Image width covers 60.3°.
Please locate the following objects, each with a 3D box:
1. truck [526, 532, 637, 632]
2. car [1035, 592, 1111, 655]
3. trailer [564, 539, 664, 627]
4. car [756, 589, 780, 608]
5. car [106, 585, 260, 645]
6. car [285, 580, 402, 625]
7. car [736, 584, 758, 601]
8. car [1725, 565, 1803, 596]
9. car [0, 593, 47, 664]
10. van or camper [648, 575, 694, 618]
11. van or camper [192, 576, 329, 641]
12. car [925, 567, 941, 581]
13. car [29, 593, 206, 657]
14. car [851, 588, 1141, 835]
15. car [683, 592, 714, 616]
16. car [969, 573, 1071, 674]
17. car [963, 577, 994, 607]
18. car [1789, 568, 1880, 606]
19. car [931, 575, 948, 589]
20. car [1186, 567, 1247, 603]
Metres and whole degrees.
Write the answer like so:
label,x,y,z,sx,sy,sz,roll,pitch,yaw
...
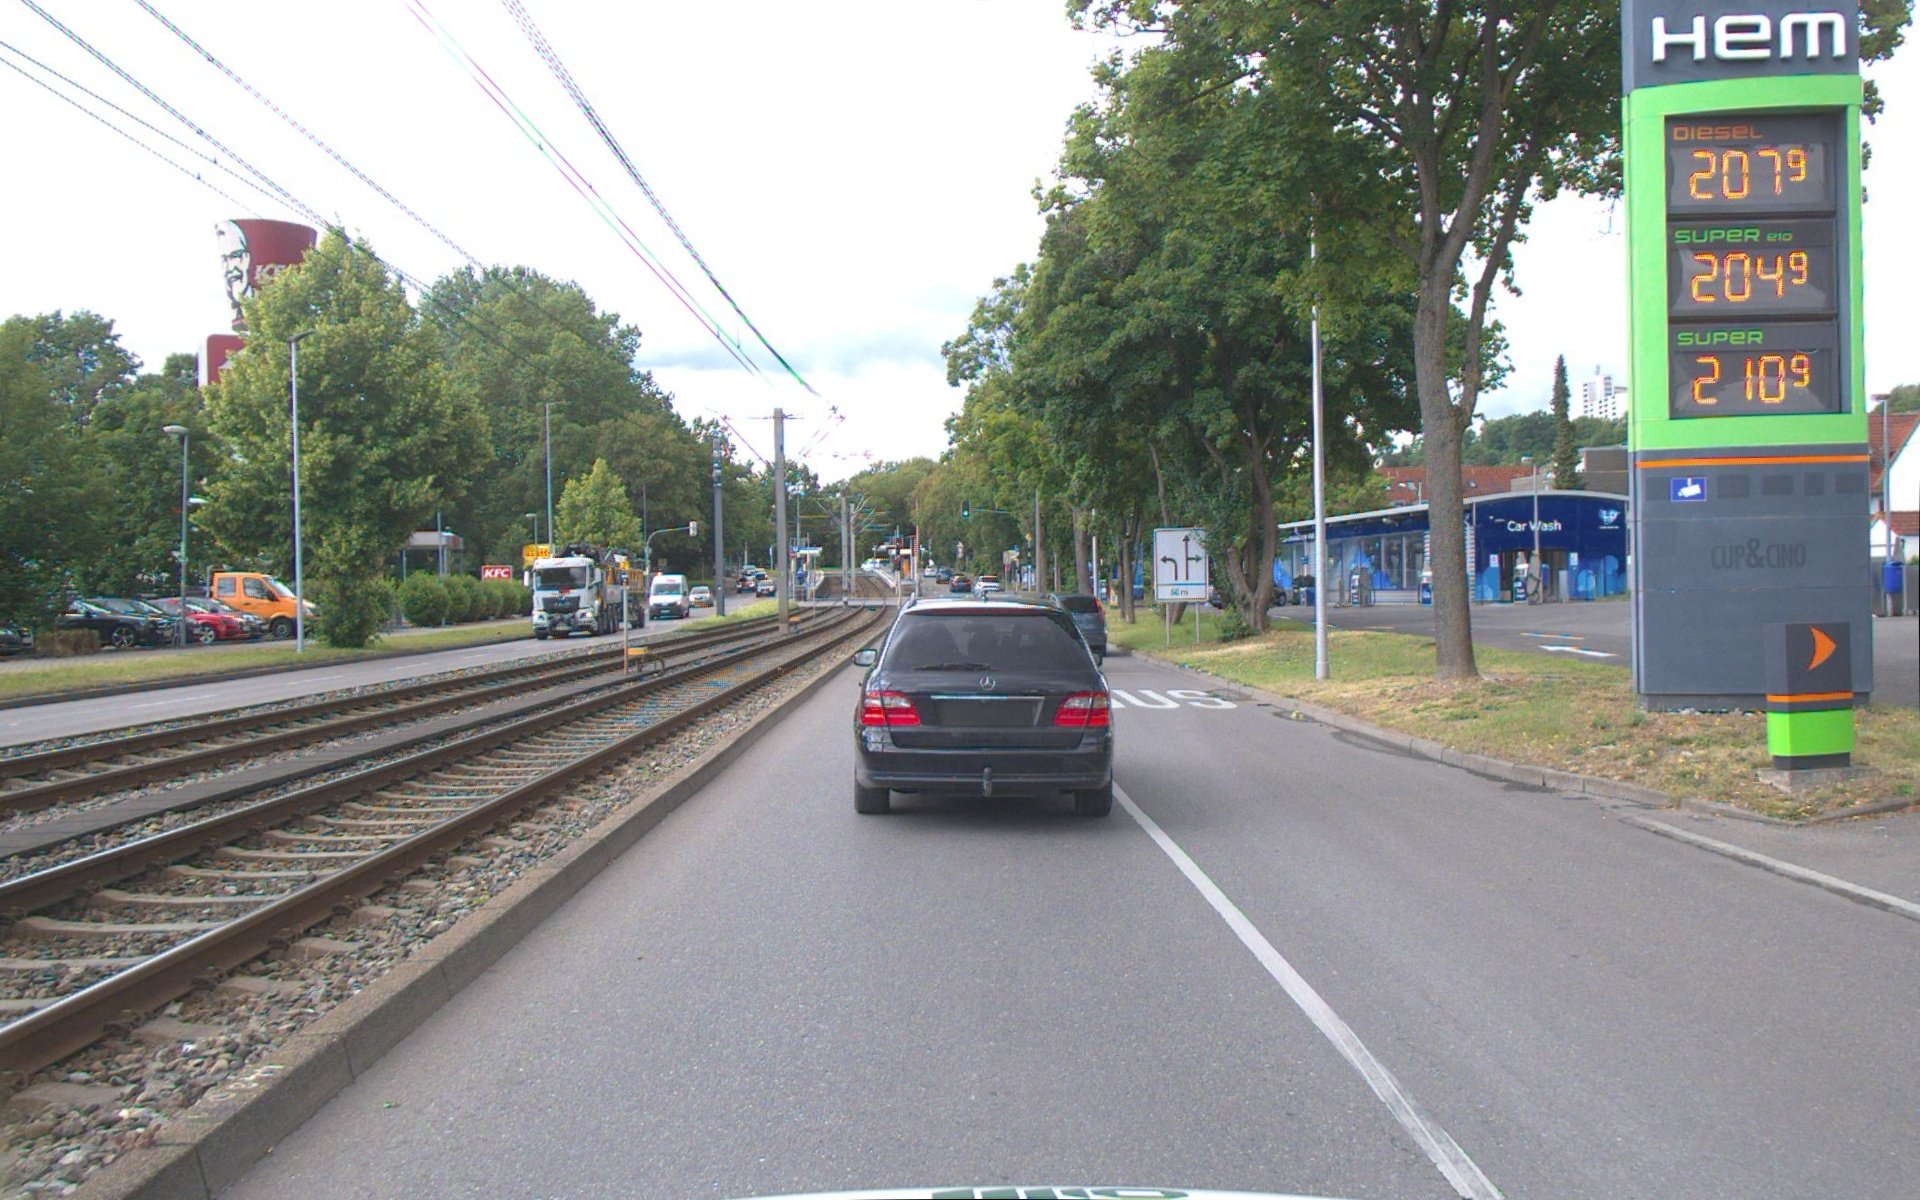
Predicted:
label,x,y,z,sx,sy,sz,roll,pitch,yaw
truck,-15.491,-0.713,68.569,2.653,3.727,11.104,-2,0,-4
car,2.690,0.556,39.974,1.539,1.439,3.353,1,0,-1
trailer,-16.093,-0.762,77.875,2.651,3.724,13.288,-2,0,-4
car,-17.059,-0.120,147.213,1.729,1.676,3.770,0,0,-1
car,-24.060,0.454,51.339,3.909,1.829,1.876,0,0,-6
car,-24.260,0.089,65.203,3.910,1.627,1.794,-2,0,-6
car,-21.492,-0.756,167.216,1.729,1.676,3.770,0,0,-1
car,37.943,-0.917,78.144,1.553,1.418,3.407,0,0,-13
car,-23.967,0.708,38.858,3.910,1.627,1.876,-2,0,-6
van or camper,-17.162,-0.224,98.519,1.954,2.395,5.763,-2,0,-3
van or camper,-23.798,0.270,56.377,3.909,2.172,1.876,0,0,-6
car,-3.367,-3.274,207.166,1.953,1.744,3.999,-1,1,-1
car,-23.371,0.672,45.990,3.910,1.627,1.876,-2,0,-6
car,0.195,0.668,12.050,1.772,1.500,3.880,0,0,-1
car,-19.429,0.292,123.065,1.729,1.676,3.770,0,0,-1
car,1.085,0.427,31.485,1.744,1.781,3.717,1,0,-1
car,1.212,-0.520,108.892,1.953,1.870,3.999,0,0,-1
car,38.597,-0.583,73.071,1.506,1.627,3.725,0,0,-13
car,-2.302,-2.015,184.311,1.634,1.559,3.767,0,0,-4
car,13.069,-0.779,84.115,1.965,1.712,4.579,-1,1,23
